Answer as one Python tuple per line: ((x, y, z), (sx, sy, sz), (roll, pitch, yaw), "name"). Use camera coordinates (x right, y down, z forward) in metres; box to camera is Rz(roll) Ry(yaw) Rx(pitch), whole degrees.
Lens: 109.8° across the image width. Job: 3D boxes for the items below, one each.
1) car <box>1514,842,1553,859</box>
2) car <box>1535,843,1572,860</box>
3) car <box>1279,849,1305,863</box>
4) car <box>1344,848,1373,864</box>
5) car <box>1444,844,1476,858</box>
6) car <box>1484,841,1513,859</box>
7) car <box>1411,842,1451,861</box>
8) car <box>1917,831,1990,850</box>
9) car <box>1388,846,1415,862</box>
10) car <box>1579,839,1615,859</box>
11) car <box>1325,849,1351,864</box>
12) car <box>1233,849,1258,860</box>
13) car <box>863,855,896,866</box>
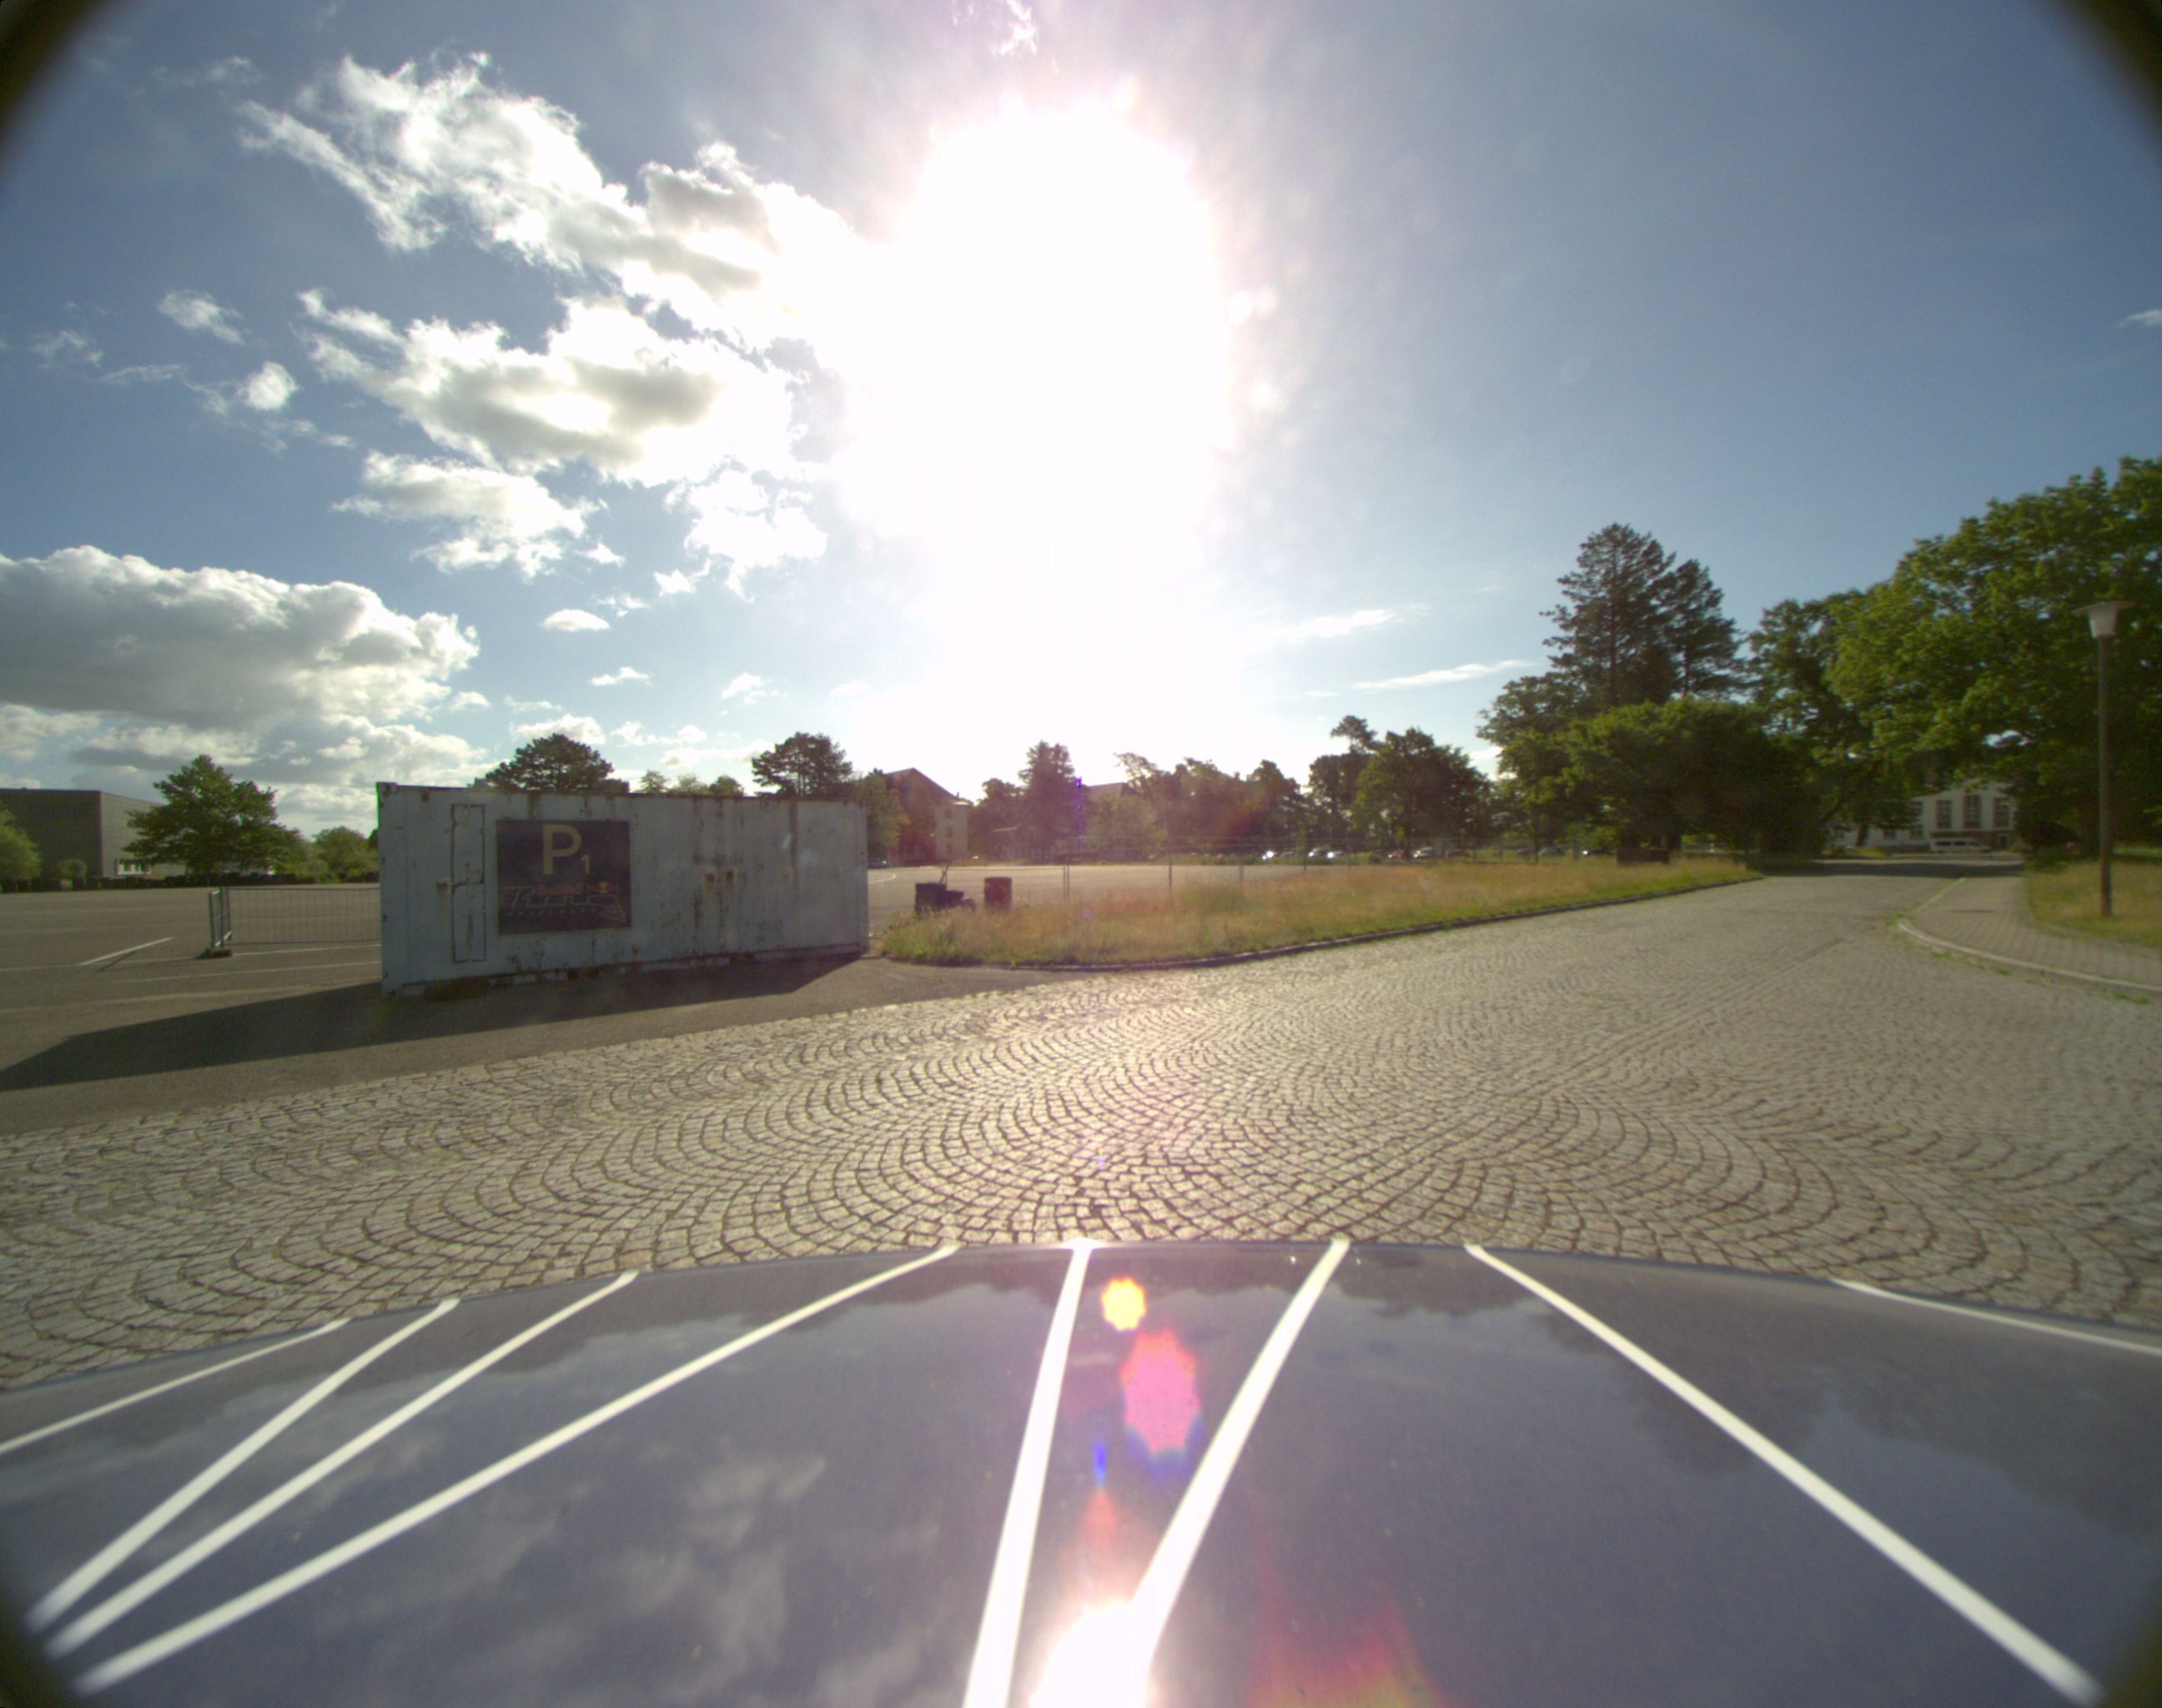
((52.140, -0.439, 87.553), (4.357, 1.828, 2.241), (-1, 1, -35), "car")
((52.994, -0.310, 85.204), (4.357, 1.828, 2.241), (-1, 1, -39), "car")
((31.204, 0.287, 112.156), (3.858, 2.002, 1.738), (-1, 1, -38), "car")
((38.385, 0.275, 105.067), (4.008, 2.002, 1.994), (-1, 0, -41), "car")
((46.612, -0.396, 93.387), (4.008, 1.642, 1.994), (-1, 1, -40), "car")
((49.893, -0.483, 90.764), (3.626, 2.002, 1.738), (-1, 1, -40), "car")
((44.510, -0.343, 96.546), (6.045, 2.002, 1.995), (-3, 0, -39), "car")
((119.507, -1.778, 104.141), (2.468, 2.452, 6.432), (-2, 1, -38), "car")
((41.822, -0.026, 99.200), (3.626, 2.002, 1.738), (-1, 1, -40), "car")
((55.480, -0.538, 81.723), (4.358, 2.002, 2.241), (-1, 1, -43), "car")
((35.858, 0.316, 105.940), (3.859, 2.002, 1.738), (-1, 1, -40), "car")
((25.633, 0.080, 118.637), (3.858, 1.649, 1.738), (-1, 1, -38), "car")
((-28.871, 0.939, 109.026), (4.008, 1.573, 1.994), (-1, 1, -43), "car")
